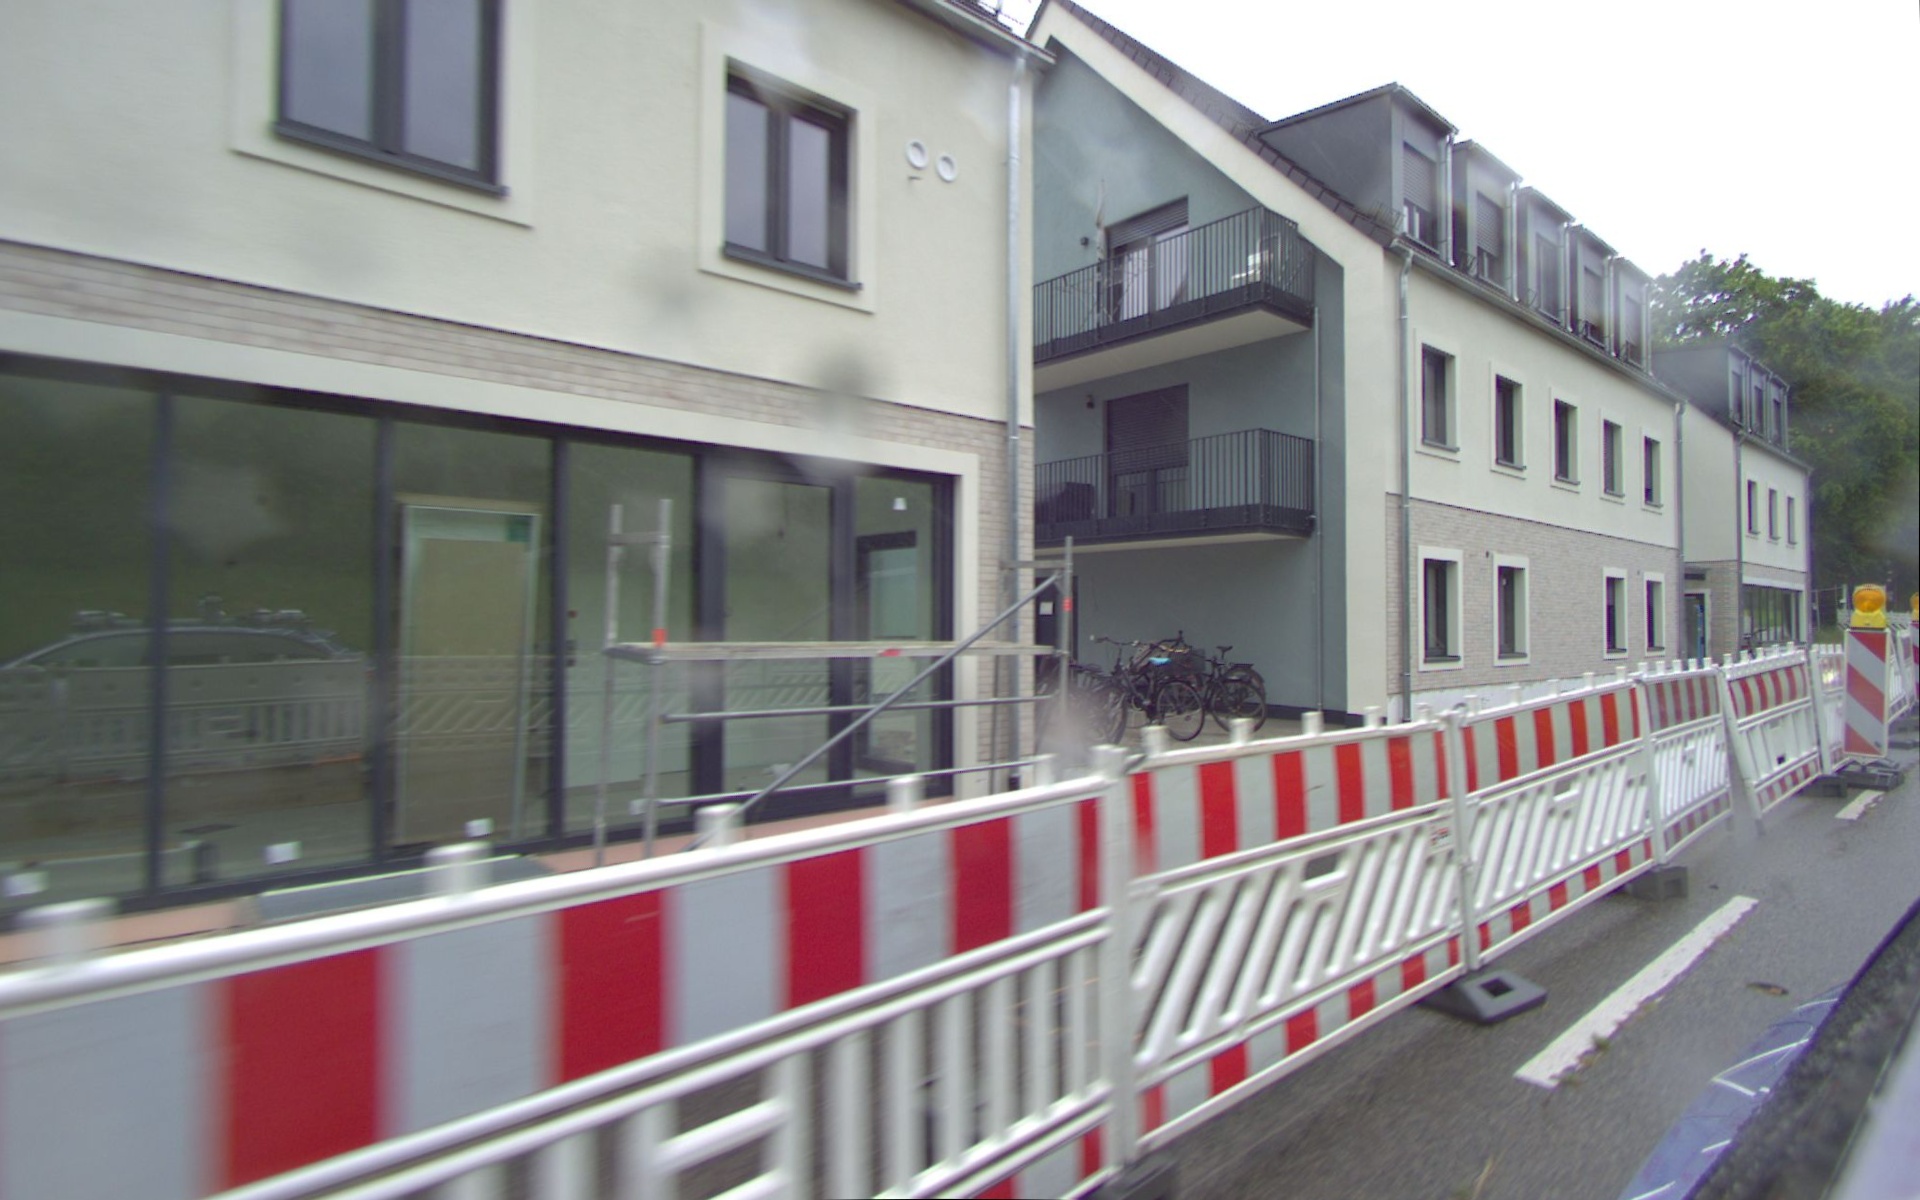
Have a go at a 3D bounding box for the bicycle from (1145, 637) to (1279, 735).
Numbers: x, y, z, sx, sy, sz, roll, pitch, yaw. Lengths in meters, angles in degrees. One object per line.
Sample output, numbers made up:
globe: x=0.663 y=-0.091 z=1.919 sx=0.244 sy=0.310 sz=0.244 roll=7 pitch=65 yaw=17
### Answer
bicycle: x=3.054 y=1.021 z=12.316 sx=1.522 sy=1.066 sz=0.445 roll=1 pitch=0 yaw=32

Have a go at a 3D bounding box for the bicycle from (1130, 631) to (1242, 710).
bicycle: x=3.266 y=1.013 z=14.677 sx=1.504 sy=1.091 sz=0.489 roll=0 pitch=0 yaw=-1

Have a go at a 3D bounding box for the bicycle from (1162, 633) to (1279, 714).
bicycle: x=3.631 y=1.021 z=14.164 sx=1.504 sy=1.091 sz=0.489 roll=0 pitch=0 yaw=-1

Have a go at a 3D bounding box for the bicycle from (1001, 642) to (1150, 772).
bicycle: x=1.127 y=0.970 z=9.626 sx=1.627 sy=1.066 sz=0.488 roll=0 pitch=0 yaw=-44

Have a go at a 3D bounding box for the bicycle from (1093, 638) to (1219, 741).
bicycle: x=2.290 y=1.018 z=11.958 sx=0.442 sy=1.066 sz=1.532 roll=0 pitch=0 yaw=-39

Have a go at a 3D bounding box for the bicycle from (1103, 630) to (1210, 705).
bicycle: x=2.937 y=1.004 z=15.209 sx=1.504 sy=1.091 sz=0.489 roll=0 pitch=0 yaw=-1

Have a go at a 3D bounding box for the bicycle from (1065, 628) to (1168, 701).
bicycle: x=2.419 y=0.995 z=15.742 sx=1.504 sy=1.091 sz=0.489 roll=0 pitch=0 yaw=-1

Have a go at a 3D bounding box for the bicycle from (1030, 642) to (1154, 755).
bicycle: x=1.444 y=1.023 z=10.915 sx=1.508 sy=1.066 sz=0.488 roll=0 pitch=0 yaw=-44
